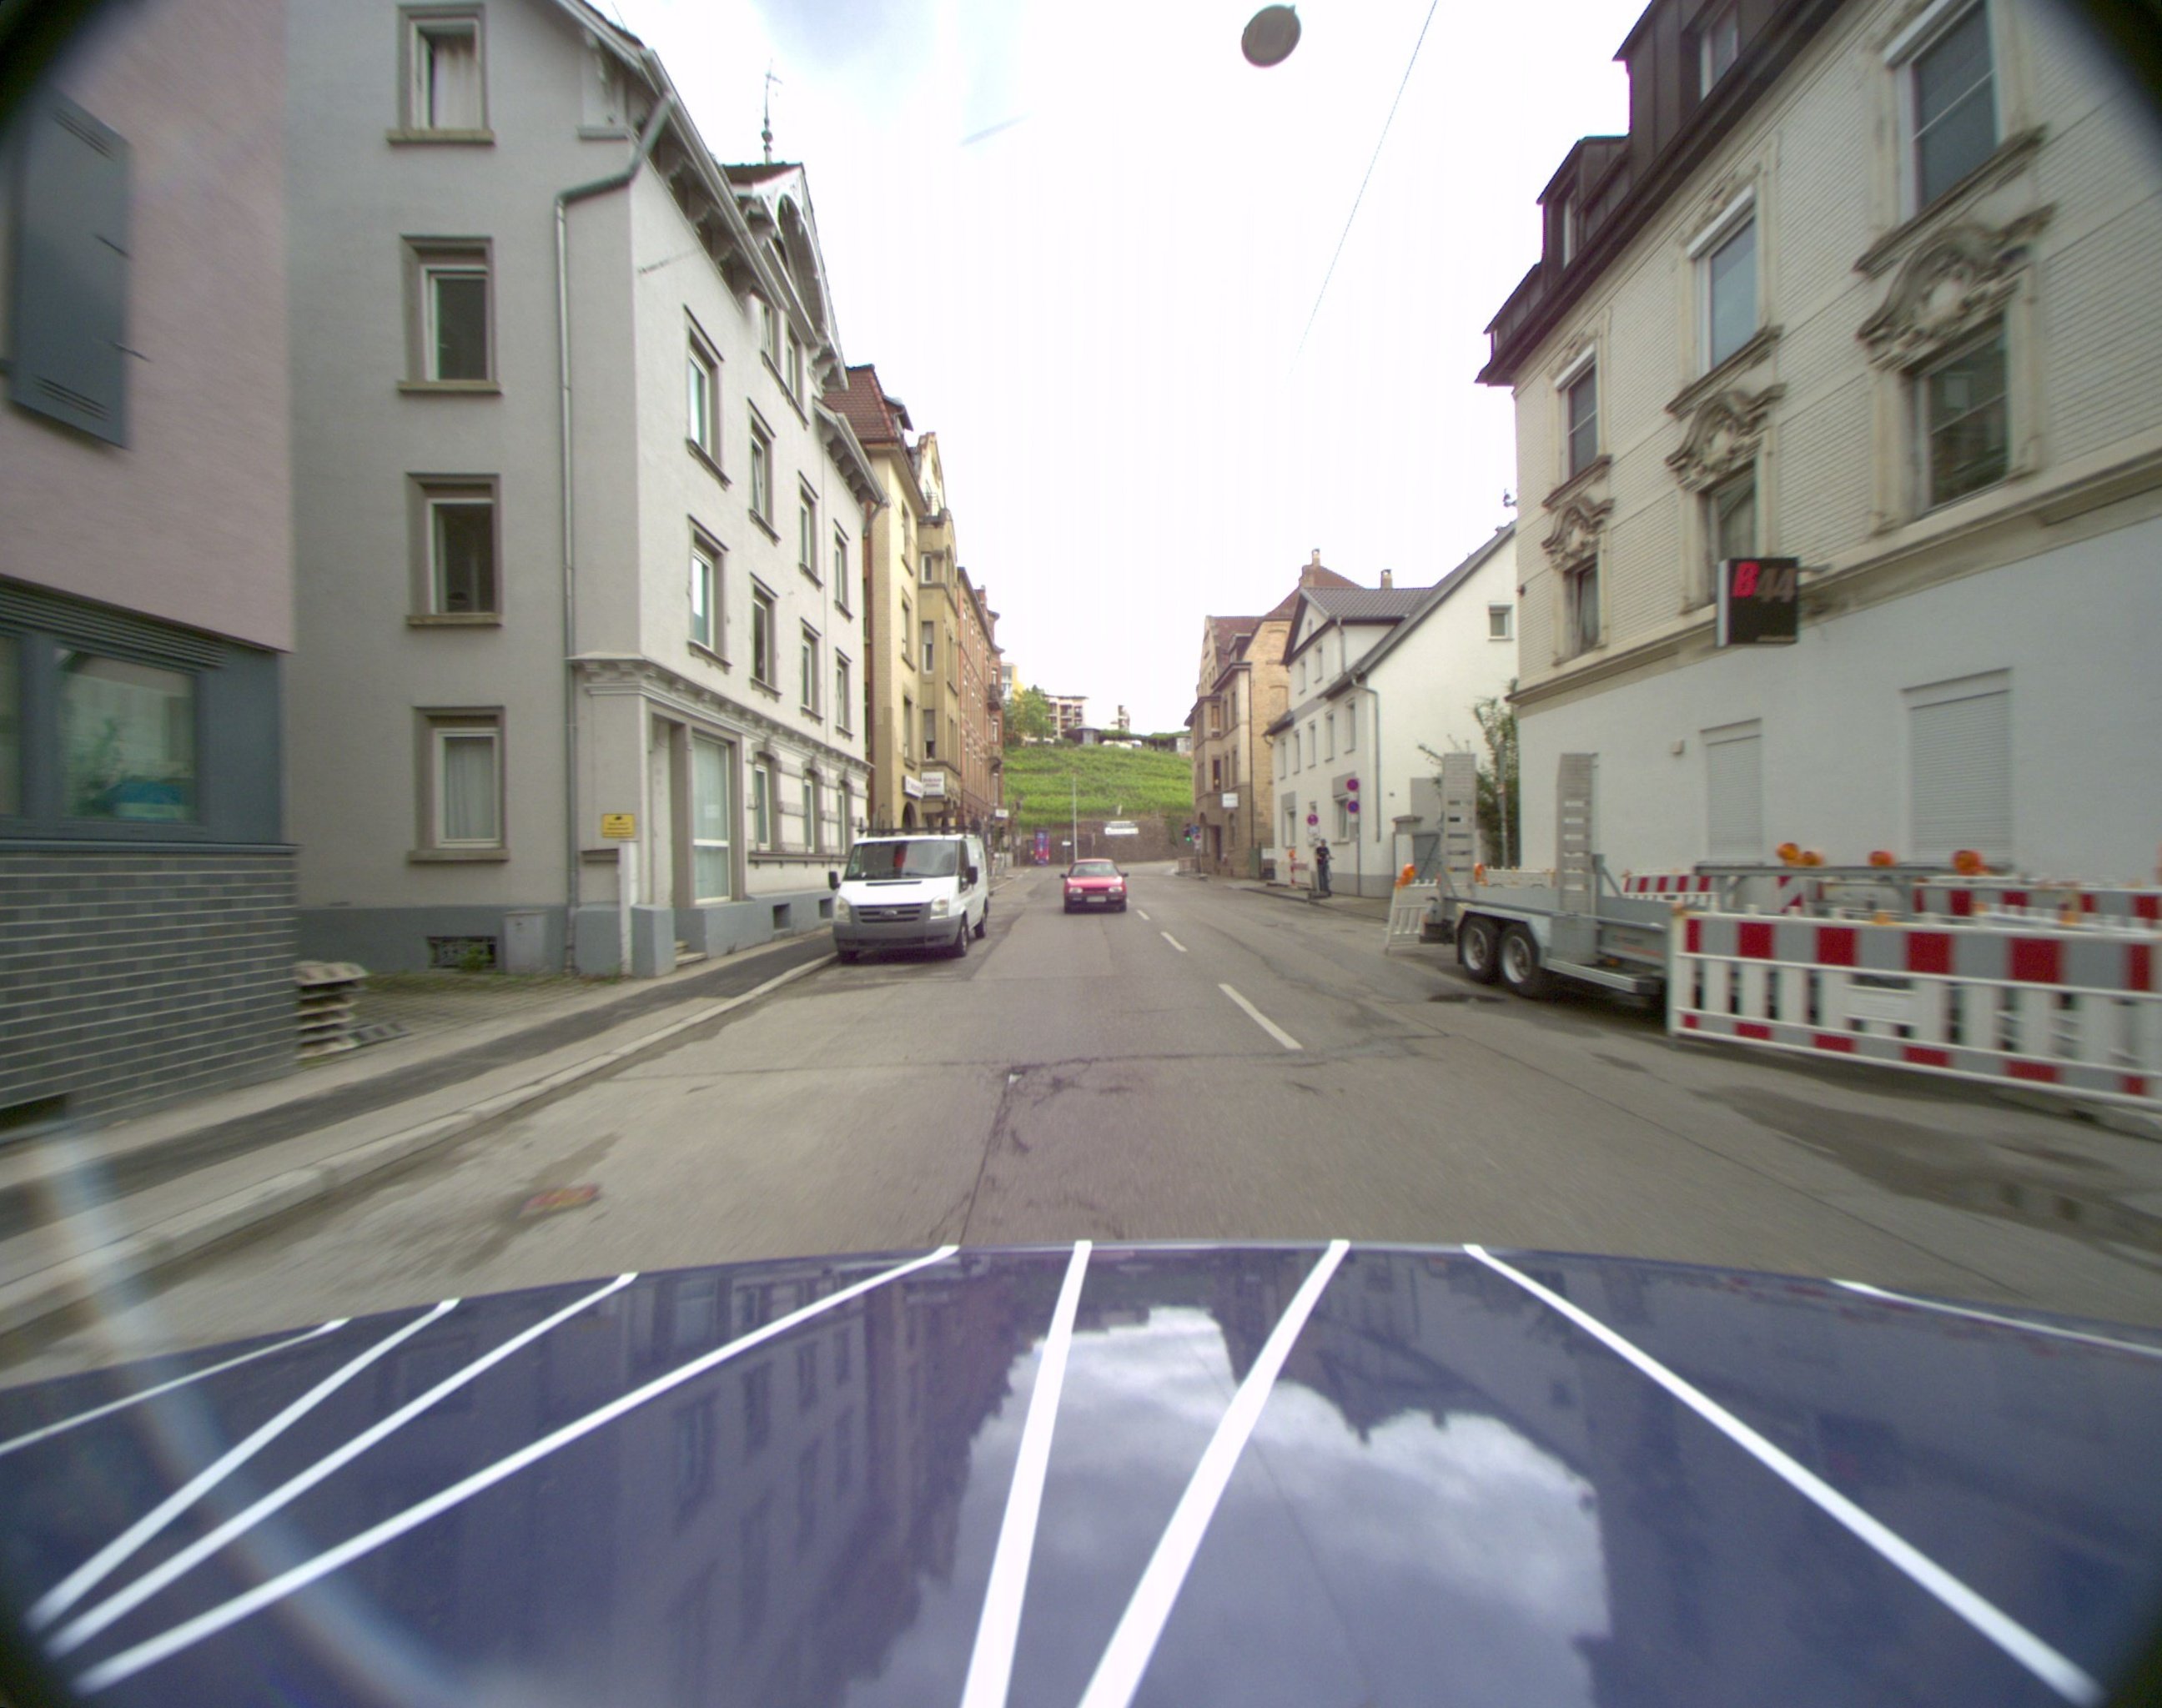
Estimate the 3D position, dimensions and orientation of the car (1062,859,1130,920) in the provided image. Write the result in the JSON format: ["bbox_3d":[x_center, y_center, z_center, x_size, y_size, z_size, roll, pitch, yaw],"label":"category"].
[{"bbox_3d":[0.406,0.871,20.416,1.626,1.387,4.000,-1,1,1],"label":"car"}]

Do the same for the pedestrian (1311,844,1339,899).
[{"bbox_3d":[7.162,0.508,22.297,0.602,1.557,0.607,-2,2,1],"label":"pedestrian"}]

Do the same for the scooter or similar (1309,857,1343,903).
[{"bbox_3d":[7.172,0.748,22.321,0.561,1.283,1.227,-2,1,-1],"label":"scooter or similar"}]

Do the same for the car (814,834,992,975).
[{"bbox_3d":[-2.818,0.699,13.273,1.999,1.970,4.877,-1,1,-1],"label":"car"}]

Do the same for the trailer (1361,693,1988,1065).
[{"bbox_3d":[5.599,0.159,8.863,2.451,2.788,6.302,0,1,1],"label":"trailer"}]
